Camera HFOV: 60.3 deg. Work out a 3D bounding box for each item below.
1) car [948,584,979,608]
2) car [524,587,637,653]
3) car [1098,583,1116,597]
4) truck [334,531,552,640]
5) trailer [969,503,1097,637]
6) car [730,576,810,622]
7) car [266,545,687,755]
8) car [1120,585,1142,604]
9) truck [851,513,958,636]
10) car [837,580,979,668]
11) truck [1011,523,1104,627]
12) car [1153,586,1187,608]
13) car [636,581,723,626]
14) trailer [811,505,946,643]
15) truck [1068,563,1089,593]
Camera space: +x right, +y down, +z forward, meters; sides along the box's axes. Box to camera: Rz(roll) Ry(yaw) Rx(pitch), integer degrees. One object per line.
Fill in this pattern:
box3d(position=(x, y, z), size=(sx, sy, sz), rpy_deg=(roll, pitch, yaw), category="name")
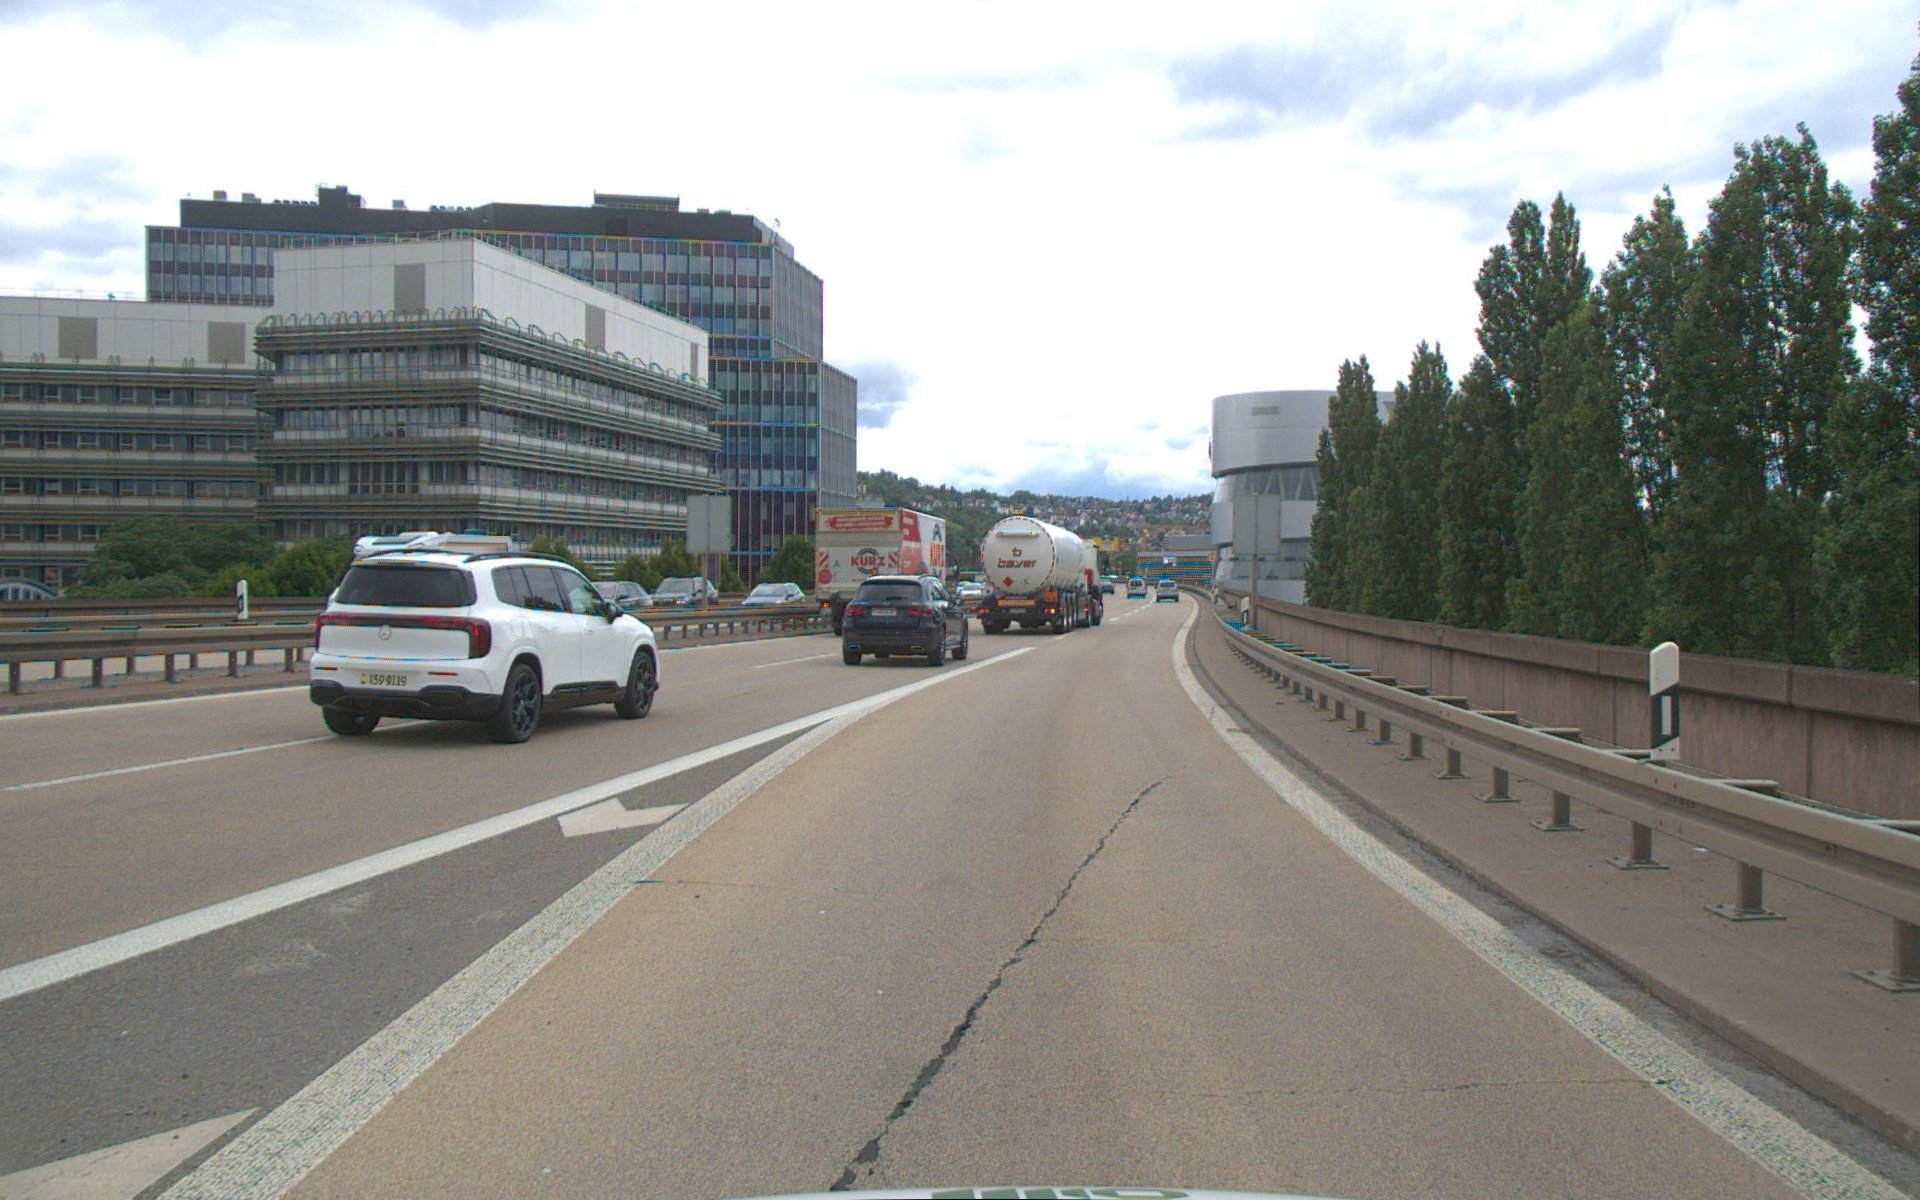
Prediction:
box3d(position=(0.275, -0.298, 119.229), size=(1.712, 1.588, 4.003), rpy_deg=(-2, 0, 7), category="car")
box3d(position=(-9.996, 0.495, 43.762), size=(1.609, 1.613, 3.722), rpy_deg=(-2, 0, 9), category="car")
box3d(position=(17.012, -1.120, 191.499), size=(1.951, 1.565, 4.002), rpy_deg=(0, -1, 5), category="car")
box3d(position=(-13.797, -0.407, 44.871), size=(2.437, 2.672, 7.355), rpy_deg=(-1, 0, 10), category="truck")
box3d(position=(2.557, -0.943, 53.477), size=(2.732, 3.802, 11.165), rpy_deg=(-1, 0, 9), category="trailer")
box3d(position=(-7.353, -0.075, 64.342), size=(1.951, 1.664, 4.458), rpy_deg=(-2, 0, 9), category="car")
box3d(position=(-4.523, 0.413, 16.433), size=(1.951, 1.697, 4.896), rpy_deg=(2, 0, 11), category="car")
box3d(position=(16.548, -0.519, 159.980), size=(1.952, 1.564, 4.002), rpy_deg=(5, 0, 5), category="car")
box3d(position=(-1.730, -0.807, 53.575), size=(2.633, 3.754, 4.443), rpy_deg=(-1, 0, 8), category="truck")
box3d(position=(-0.906, 0.416, 31.340), size=(1.807, 1.531, 4.269), rpy_deg=(1, 0, 10), category="car")
box3d(position=(3.603, -0.885, 59.854), size=(2.710, 3.490, 5.970), rpy_deg=(-1, 0, 9), category="truck")
box3d(position=(16.824, -0.228, 132.413), size=(1.952, 1.564, 4.002), rpy_deg=(6, 0, 16), category="car")
box3d(position=(-10.993, 0.112, 65.192), size=(1.951, 1.664, 4.636), rpy_deg=(-2, 0, 9), category="car")
box3d(position=(-2.296, -0.755, 49.437), size=(2.633, 3.754, 7.319), rpy_deg=(-1, 0, 8), category="trailer")
box3d(position=(16.038, -2.943, 222.925), size=(2.344, 3.961, 5.948), rpy_deg=(-1, 0, 8), category="truck")
